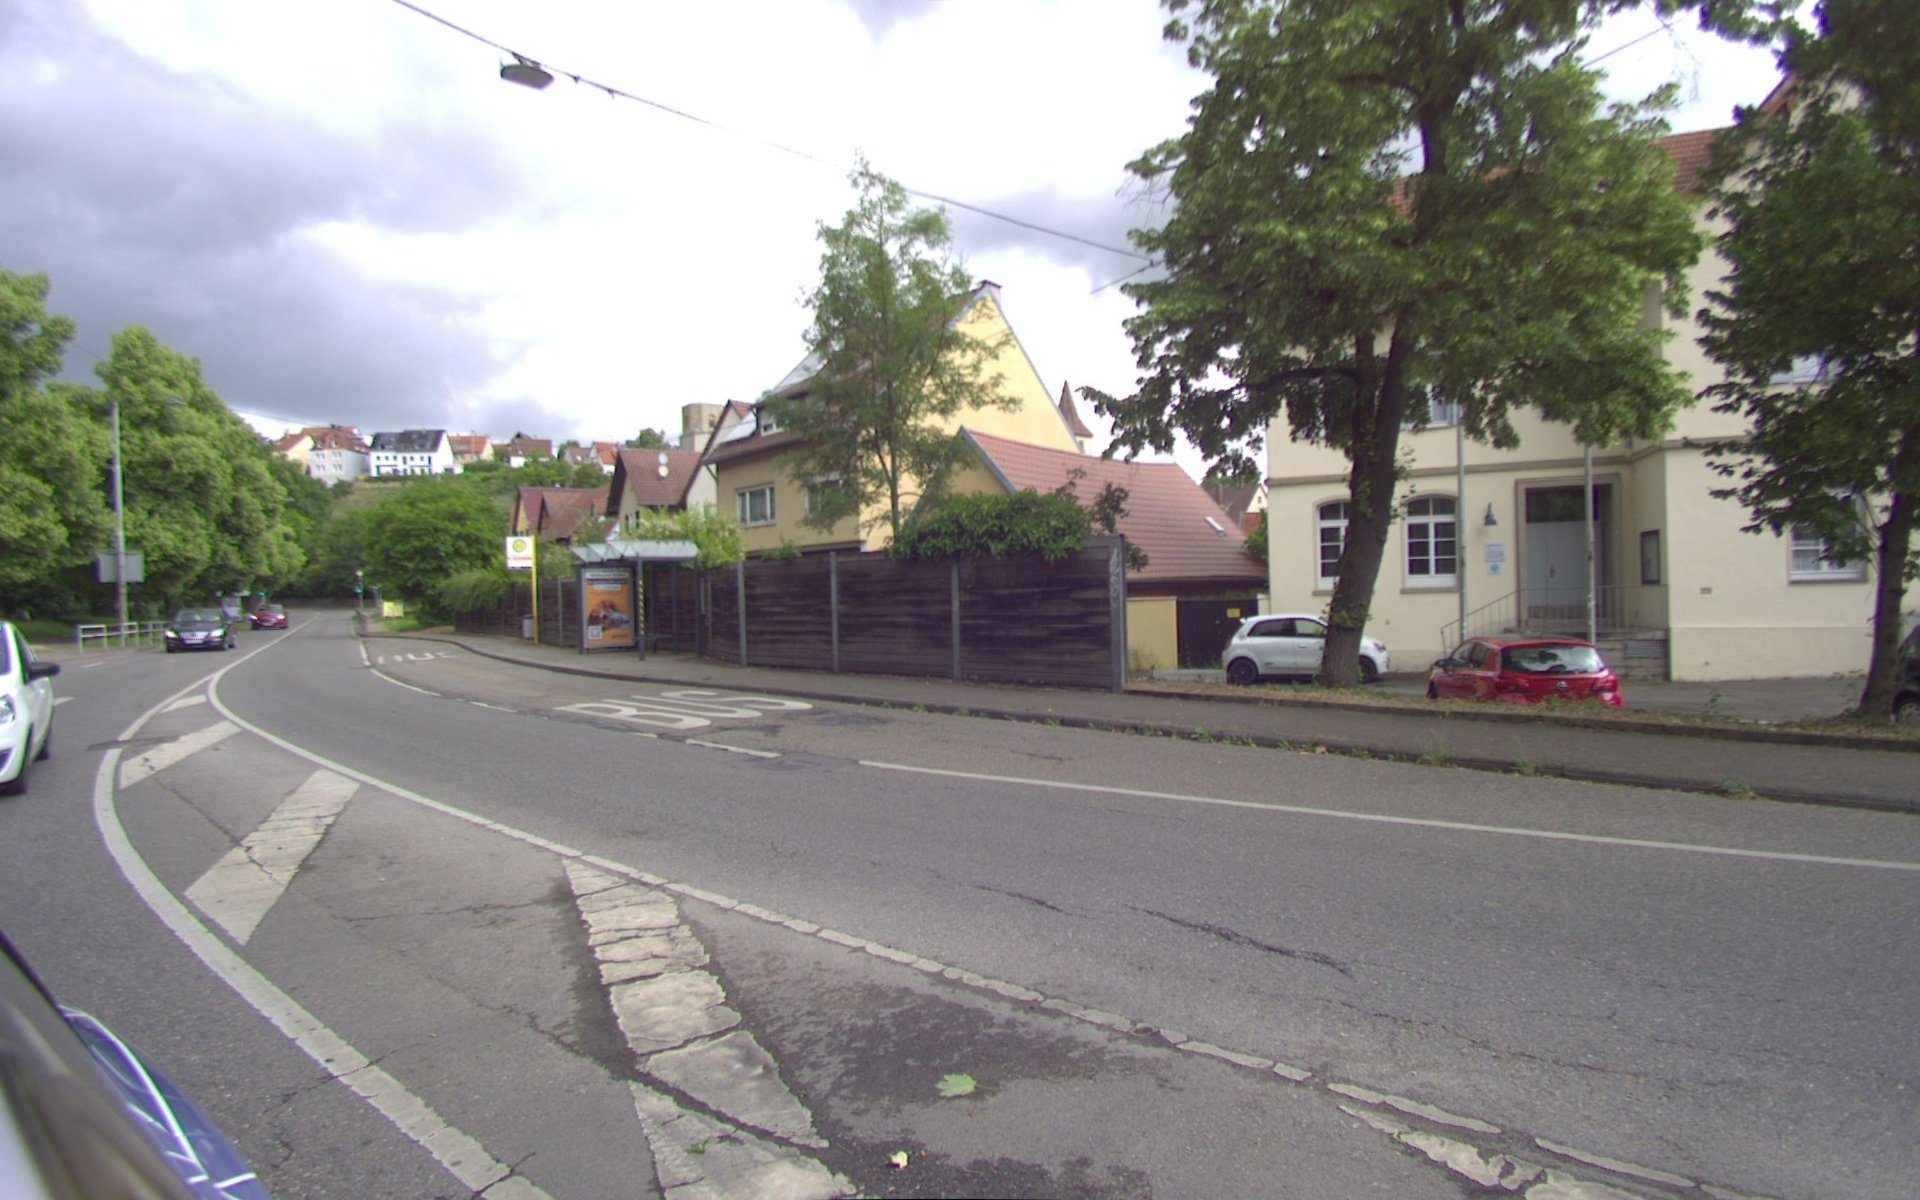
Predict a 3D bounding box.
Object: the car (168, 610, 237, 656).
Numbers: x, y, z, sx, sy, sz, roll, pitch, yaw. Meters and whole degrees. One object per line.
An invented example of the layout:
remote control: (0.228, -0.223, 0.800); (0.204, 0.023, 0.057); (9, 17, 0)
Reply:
car: (-27.721, 1.167, 37.134); (1.696, 1.559, 3.793); (-1, 0, -32)

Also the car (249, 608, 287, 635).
car: (-45.442, 1.358, 66.518); (1.798, 1.685, 4.070); (-1, 0, -31)

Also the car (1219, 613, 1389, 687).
car: (7.749, 1.104, 22.928); (3.487, 1.528, 1.581); (-1, 0, 20)

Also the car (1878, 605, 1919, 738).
car: (12.701, 0.886, 11.589); (1.586, 1.644, 3.093); (-1, 0, 2)

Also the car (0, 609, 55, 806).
car: (-9.095, 0.860, 8.802); (1.594, 1.525, 3.612); (-1, 0, -38)

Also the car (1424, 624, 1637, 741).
car: (8.128, 1.101, 14.773); (1.590, 1.389, 3.544); (-1, 0, 10)
